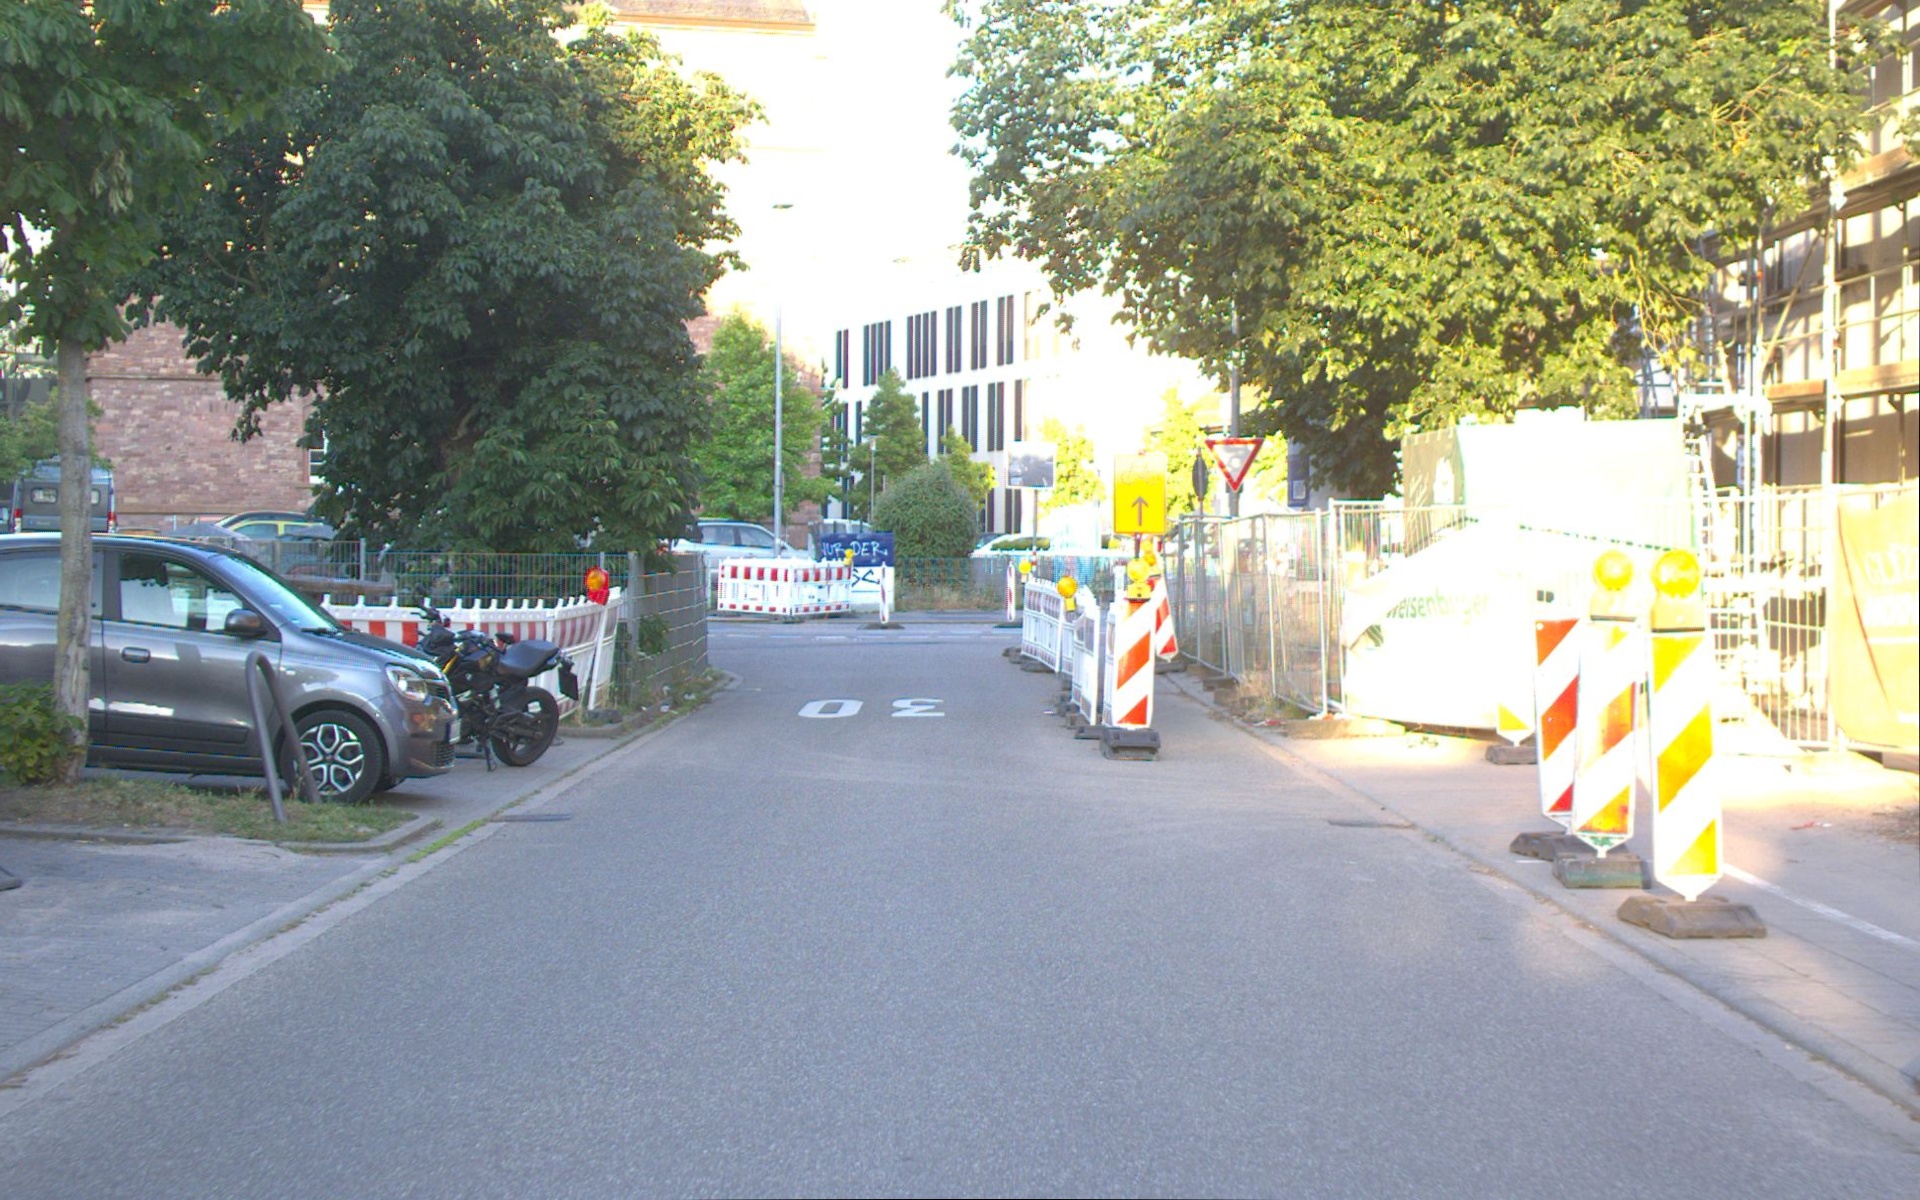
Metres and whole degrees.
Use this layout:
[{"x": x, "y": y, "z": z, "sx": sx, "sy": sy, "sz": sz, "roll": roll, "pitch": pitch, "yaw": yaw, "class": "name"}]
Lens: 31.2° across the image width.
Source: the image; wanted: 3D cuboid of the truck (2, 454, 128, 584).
[{"x": -18.617, "y": -1.673, "z": 71.374, "sx": 2.333, "sy": 2.608, "sz": 4.974, "roll": 0, "pitch": 1, "yaw": -17, "class": "truck"}]

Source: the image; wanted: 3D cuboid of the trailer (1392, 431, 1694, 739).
[{"x": 5.080, "y": -0.165, "z": 30.502, "sx": 1.993, "sy": 2.531, "sz": 4.186, "roll": 0, "pitch": 1, "yaw": 1, "class": "trailer"}]

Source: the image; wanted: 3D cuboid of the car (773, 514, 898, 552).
[{"x": -4.349, "y": -2.331, "z": 119.805, "sx": 3.986, "sy": 1.308, "sz": 1.878, "roll": 0, "pitch": 1, "yaw": -18, "class": "car"}]

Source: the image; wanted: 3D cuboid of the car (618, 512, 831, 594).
[{"x": -5.044, "y": -1.013, "z": 73.571, "sx": 4.268, "sy": 1.703, "sz": 1.703, "roll": 0, "pitch": 1, "yaw": -19, "class": "car"}]

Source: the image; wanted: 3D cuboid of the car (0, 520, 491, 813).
[{"x": -4.826, "y": 0.355, "z": 20.956, "sx": 3.623, "sy": 1.551, "sz": 1.693, "roll": 3, "pitch": 1, "yaw": 0, "class": "car"}]

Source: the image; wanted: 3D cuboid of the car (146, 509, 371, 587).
[{"x": -14.918, "y": -1.111, "z": 73.134, "sx": 4.582, "sy": 1.632, "sz": 1.576, "roll": 0, "pitch": 1, "yaw": -16, "class": "car"}]

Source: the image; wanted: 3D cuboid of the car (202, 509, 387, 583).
[{"x": -13.786, "y": -1.125, "z": 71.170, "sx": 3.630, "sy": 1.498, "sz": 1.638, "roll": 0, "pitch": 1, "yaw": -16, "class": "car"}]

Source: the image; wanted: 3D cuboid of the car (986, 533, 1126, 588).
[{"x": 2.831, "y": -1.155, "z": 101.104, "sx": 3.739, "sy": 1.597, "sz": 1.687, "roll": 0, "pitch": 1, "yaw": -21, "class": "car"}]

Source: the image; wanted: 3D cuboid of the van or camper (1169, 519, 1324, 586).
[{"x": 9.694, "y": -1.600, "z": 116.322, "sx": 4.961, "sy": 2.233, "sz": 1.687, "roll": 0, "pitch": 1, "yaw": -21, "class": "van or camper"}]

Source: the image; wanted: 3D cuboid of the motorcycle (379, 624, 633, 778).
[{"x": -3.213, "y": 0.703, "z": 24.544, "sx": 0.538, "sy": 1.017, "sz": 2.208, "roll": 4, "pitch": 1, "yaw": 29, "class": "motorcycle"}]
